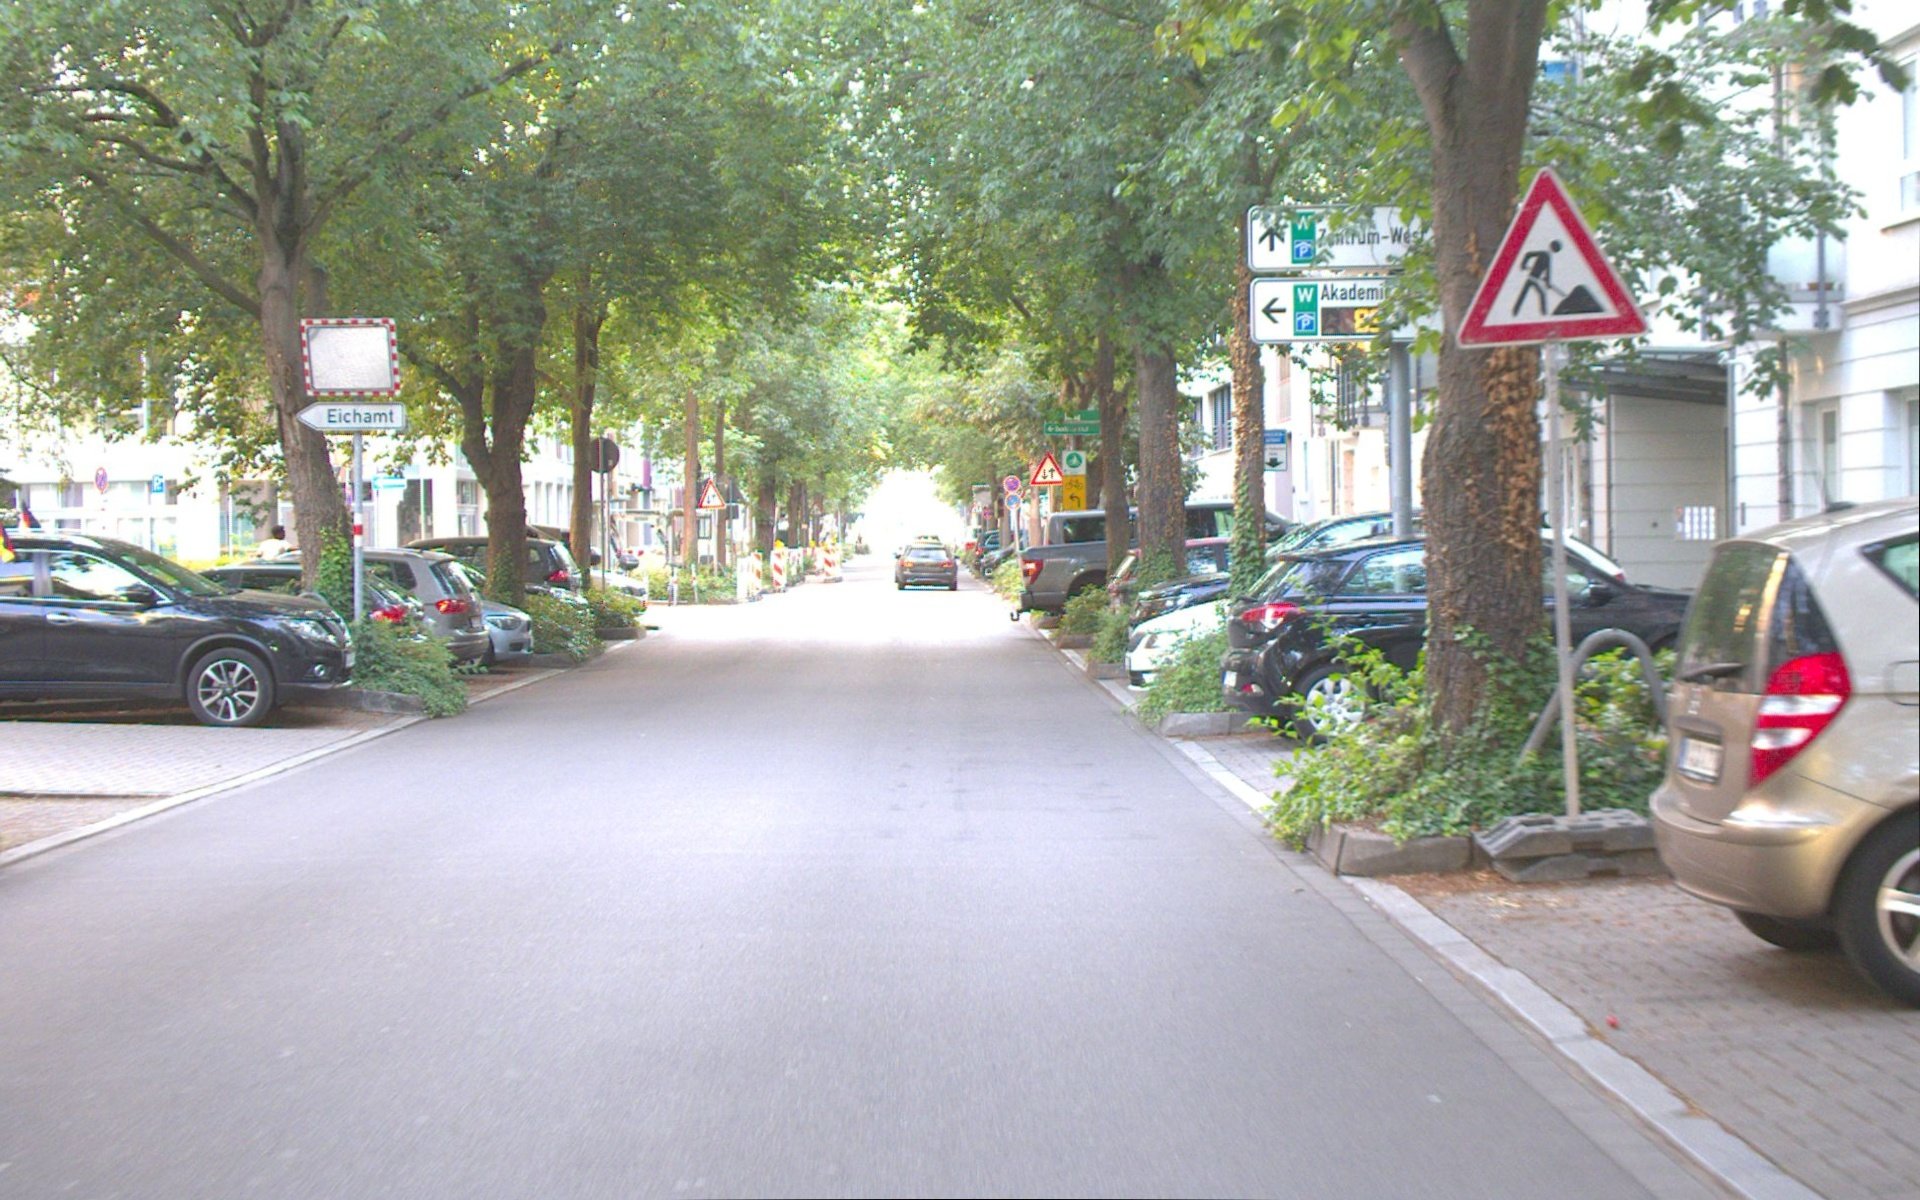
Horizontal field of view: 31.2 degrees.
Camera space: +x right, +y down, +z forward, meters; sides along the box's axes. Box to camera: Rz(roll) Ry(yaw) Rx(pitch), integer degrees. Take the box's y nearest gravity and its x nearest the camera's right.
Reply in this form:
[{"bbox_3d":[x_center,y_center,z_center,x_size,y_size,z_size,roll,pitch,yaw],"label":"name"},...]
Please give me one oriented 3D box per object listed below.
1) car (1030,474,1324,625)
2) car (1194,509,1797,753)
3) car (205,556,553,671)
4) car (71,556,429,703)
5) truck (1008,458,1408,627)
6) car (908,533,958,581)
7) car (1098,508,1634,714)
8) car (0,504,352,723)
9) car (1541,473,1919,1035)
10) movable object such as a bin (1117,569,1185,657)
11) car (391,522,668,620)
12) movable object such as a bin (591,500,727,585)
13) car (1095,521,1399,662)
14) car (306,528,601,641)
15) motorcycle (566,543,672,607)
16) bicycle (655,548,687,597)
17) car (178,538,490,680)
[{"bbox_3d":[3.581,-0.846,57.418,4.620,2.125,2.037,-4,1,0],"label":"car"},{"bbox_3d":[3.890,0.200,25.406,3.986,1.469,1.914,-4,1,-4],"label":"car"},{"bbox_3d":[-7.211,0.154,42.979,4.099,1.375,1.747,0,1,-2],"label":"car"},{"bbox_3d":[-7.322,0.289,35.653,3.404,1.437,1.594,-1,1,-2],"label":"car"},{"bbox_3d":[3.855,-0.912,54.382,6.004,2.125,2.261,-5,1,0],"label":"truck"},{"bbox_3d":[-0.825,-1.314,104.425,1.500,1.411,3.714,0,1,0],"label":"car"},{"bbox_3d":[3.644,0.086,31.399,4.572,1.546,1.773,-4,1,-1],"label":"car"},{"bbox_3d":[-7.807,0.101,30.688,4.418,1.886,2.000,0,1,-1],"label":"car"},{"bbox_3d":[4.064,0.362,11.385,3.862,1.661,1.926,-3,1,0],"label":"car"},{"bbox_3d":[2.353,0.159,42.414,0.774,1.064,0.589,-1,1,-1],"label":"movable object such as a bin"},{"bbox_3d":[-7.387,-0.504,59.302,4.498,1.576,2.055,1,0,0],"label":"car"},{"bbox_3d":[-8.476,-1.629,97.155,3.665,2.325,2.584,-1,1,-2],"label":"movable object such as a bin"},{"bbox_3d":[3.719,-0.102,45.015,3.664,1.543,1.781,-4,0,-2],"label":"car"},{"bbox_3d":[-7.957,-0.259,54.329,4.395,1.679,2.064,1,1,-2],"label":"car"},{"bbox_3d":[-7.837,-0.586,79.052,2.373,1.436,0.801,-1,1,-40],"label":"motorcycle"},{"bbox_3d":[-6.890,-0.664,82.006,0.601,1.114,1.800,-1,2,0],"label":"bicycle"},{"bbox_3d":[-7.383,0.089,40.780,3.404,1.604,1.761,-1,1,-2],"label":"car"}]
